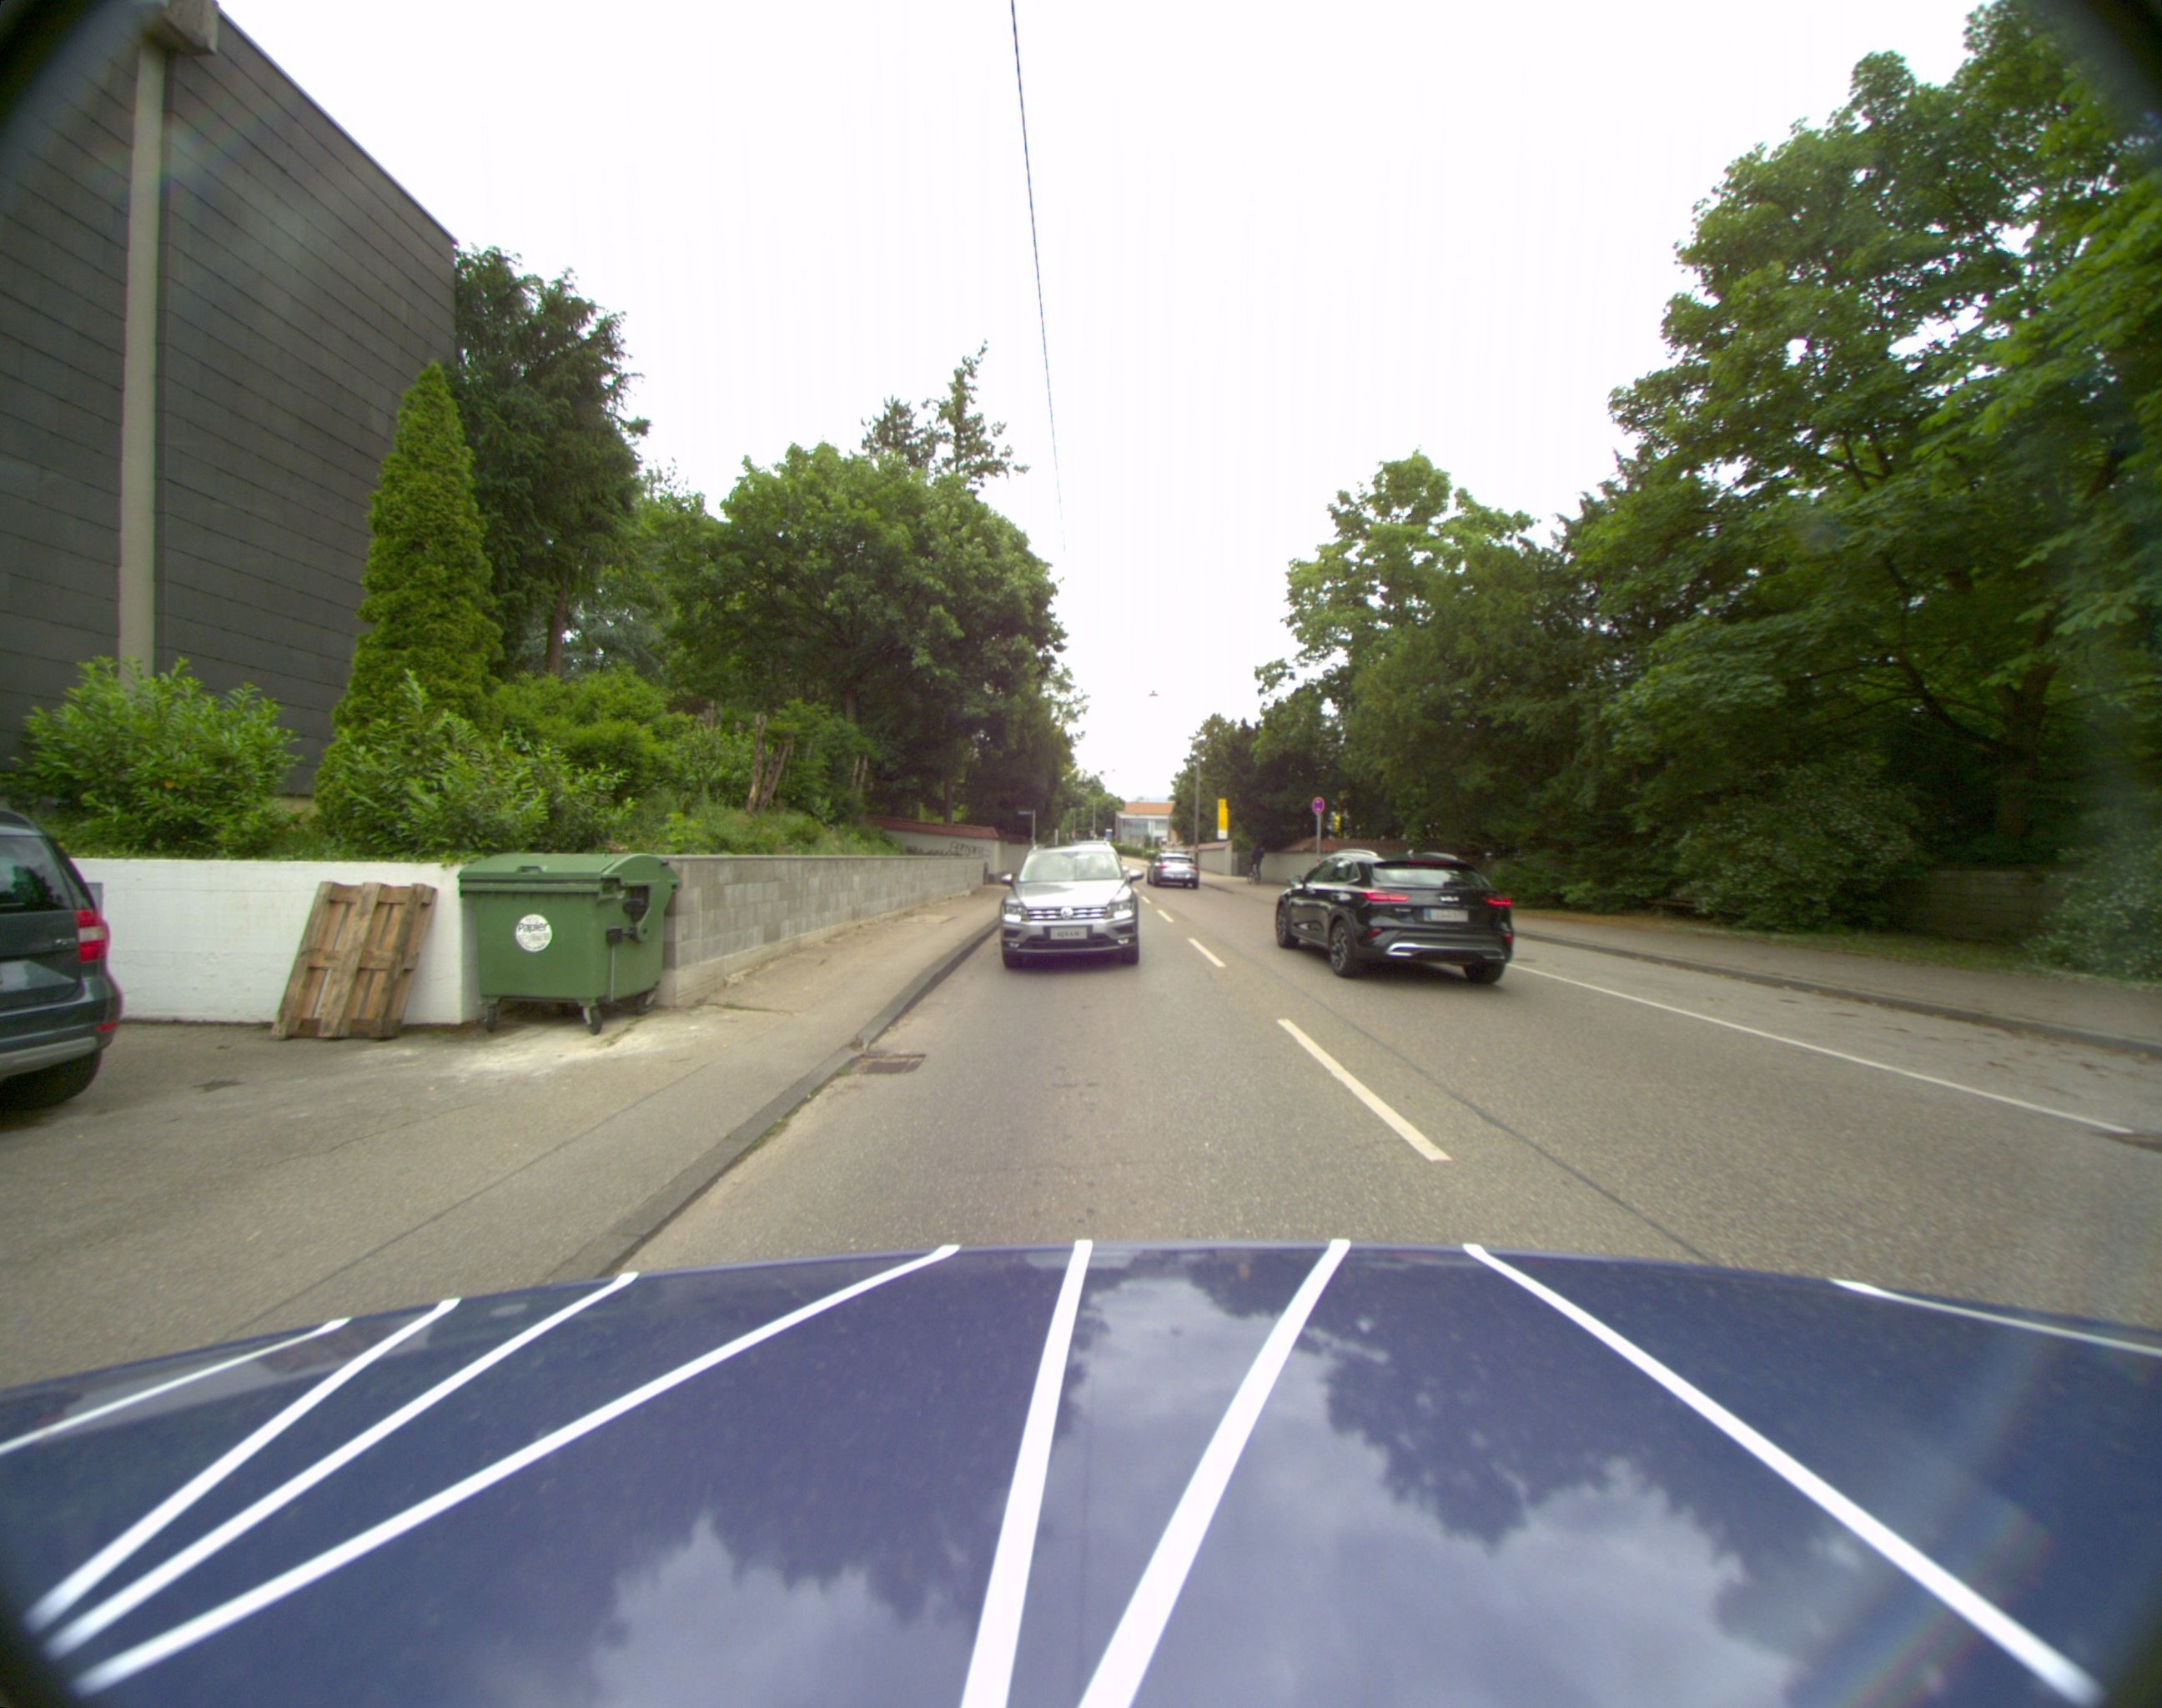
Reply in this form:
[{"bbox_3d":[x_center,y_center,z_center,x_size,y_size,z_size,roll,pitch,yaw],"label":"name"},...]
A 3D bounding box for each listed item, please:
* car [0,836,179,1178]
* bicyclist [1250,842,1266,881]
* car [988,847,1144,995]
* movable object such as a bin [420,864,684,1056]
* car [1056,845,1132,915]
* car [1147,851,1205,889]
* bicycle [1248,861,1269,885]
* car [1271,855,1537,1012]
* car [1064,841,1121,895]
[{"bbox_3d":[-7.159,0.718,3.597,3.909,1.642,1.745,1,1,5],"label":"car"},{"bbox_3d":[7.773,0.330,33.383,0.489,1.674,0.588,-3,1,1],"label":"bicyclist"},{"bbox_3d":[-0.157,0.779,11.427,1.820,1.690,4.718,-2,1,0],"label":"car"},{"bbox_3d":[-4.358,0.824,6.398,1.407,1.443,1.116,0,1,1],"label":"movable object such as a bin"},{"bbox_3d":[0.331,0.606,20.562,1.820,1.647,4.487,-1,1,0],"label":"car"},{"bbox_3d":[3.905,0.621,32.037,1.761,1.395,4.413,2,1,-1],"label":"car"},{"bbox_3d":[7.801,0.823,33.494,0.496,0.959,1.748,-3,1,1],"label":"bicycle"},{"bbox_3d":[3.792,0.816,9.754,1.705,1.475,3.999,2,1,1],"label":"car"},{"bbox_3d":[0.394,0.423,26.682,1.820,1.733,4.487,-1,1,0],"label":"car"}]
